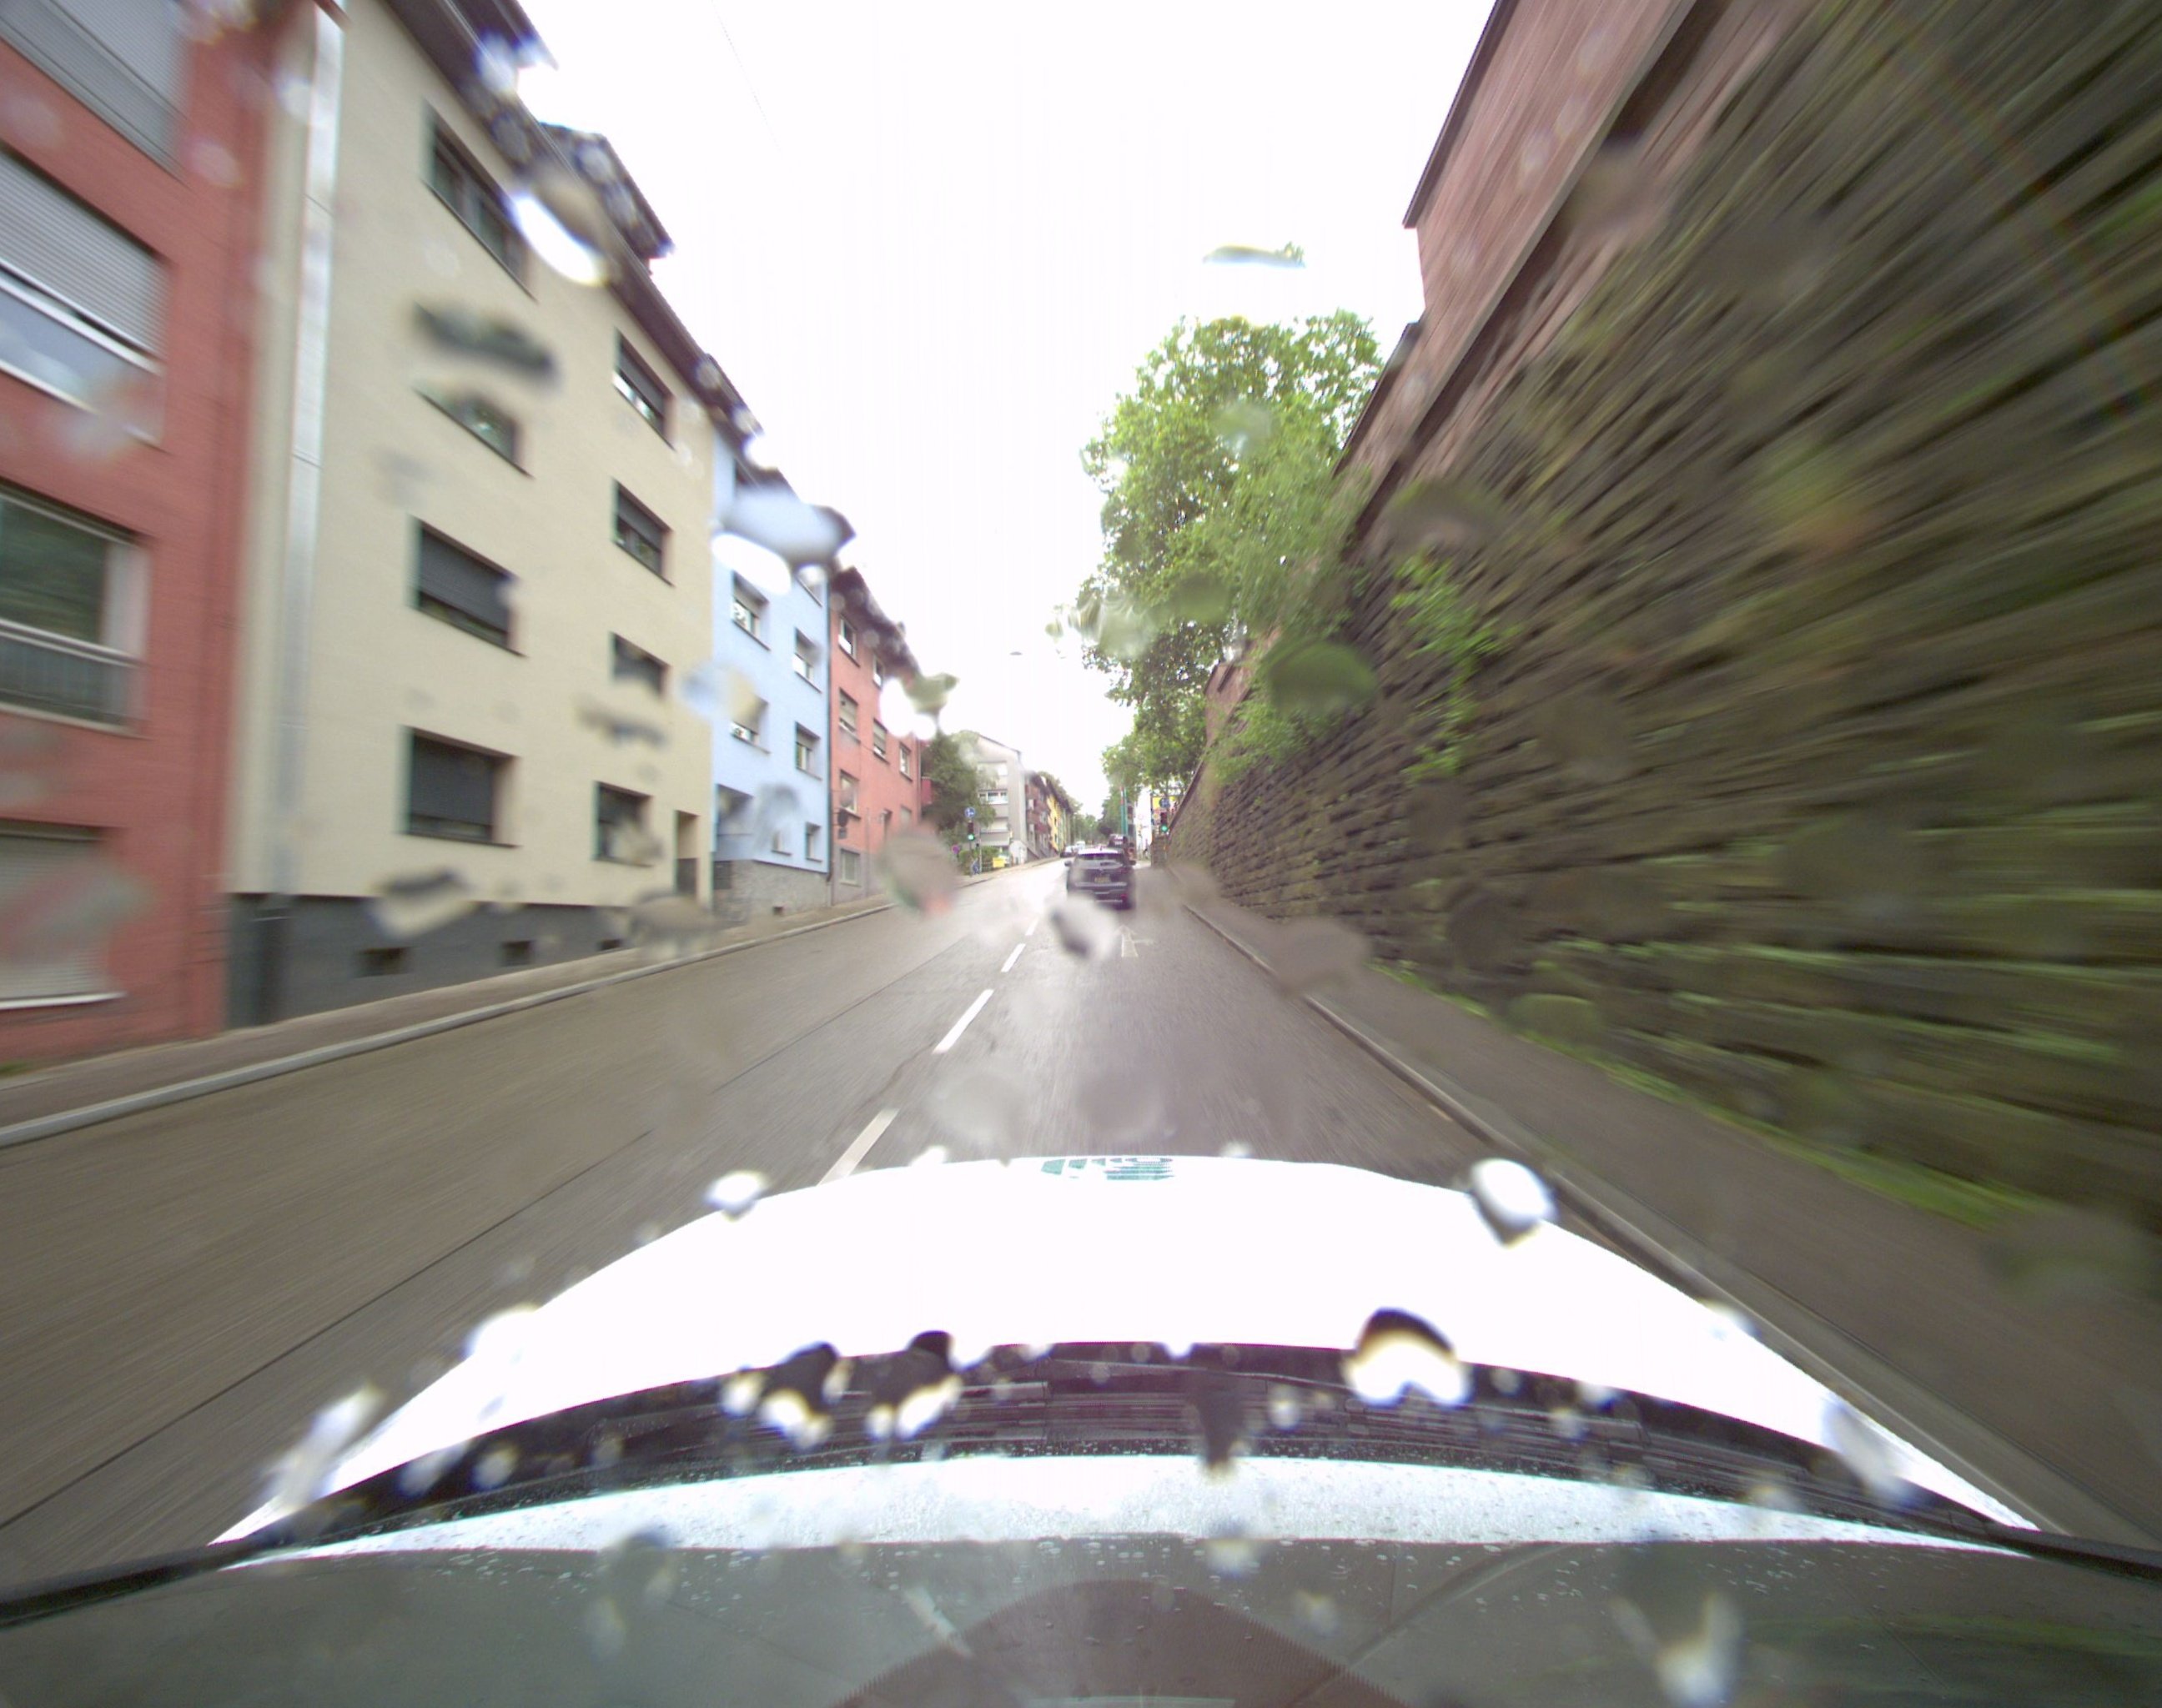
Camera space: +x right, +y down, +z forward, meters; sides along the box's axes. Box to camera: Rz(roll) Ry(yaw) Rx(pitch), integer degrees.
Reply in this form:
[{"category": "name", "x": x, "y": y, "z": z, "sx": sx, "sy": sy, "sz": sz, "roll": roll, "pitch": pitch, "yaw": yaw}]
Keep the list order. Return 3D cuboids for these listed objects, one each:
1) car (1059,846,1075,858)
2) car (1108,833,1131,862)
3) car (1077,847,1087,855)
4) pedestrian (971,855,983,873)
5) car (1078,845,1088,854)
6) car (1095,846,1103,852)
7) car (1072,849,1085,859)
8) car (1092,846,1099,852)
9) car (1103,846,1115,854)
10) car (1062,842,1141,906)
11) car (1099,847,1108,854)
[{"category": "car", "x": -2.125, "y": -0.298, "z": 123.755, "sx": 1.985, "sy": 1.650, "sz": 4.447, "roll": -2, "pitch": 1, "yaw": 4}, {"category": "car", "x": 3.628, "y": -0.562, "z": 76.195, "sx": 1.985, "sy": 2.414, "sz": 5.841, "roll": -1, "pitch": -2, "yaw": 4}, {"category": "car", "x": 0.165, "y": -0.577, "z": 163.500, "sx": 1.983, "sy": 1.585, "sz": 4.306, "roll": -2, "pitch": 1, "yaw": 1}, {"category": "pedestrian", "x": -8.810, "y": 0.840, "z": 69.044, "sx": 0.867, "sy": 1.541, "sz": 1.087, "roll": -1, "pitch": -2, "yaw": -1}, {"category": "car", "x": 0.521, "y": -0.875, "z": 170.642, "sx": 1.983, "sy": 1.755, "sz": 4.481, "roll": -2, "pitch": 1, "yaw": 1}, {"category": "car", "x": 4.942, "y": -1.308, "z": 219.298, "sx": 2.067, "sy": 1.559, "sz": 4.001, "roll": -1, "pitch": 1, "yaw": 1}, {"category": "car", "x": -0.419, "y": 0.059, "z": 146.608, "sx": 1.985, "sy": 1.650, "sz": 4.447, "roll": -2, "pitch": 1, "yaw": 4}, {"category": "car", "x": 4.310, "y": -1.543, "z": 247.419, "sx": 2.067, "sy": 1.559, "sz": 4.001, "roll": -1, "pitch": 1, "yaw": 1}, {"category": "car", "x": 5.184, "y": -0.781, "z": 153.054, "sx": 2.068, "sy": 1.559, "sz": 4.000, "roll": -1, "pitch": 1, "yaw": 0}, {"category": "car", "x": 0.584, "y": 0.473, "z": 22.538, "sx": 1.986, "sy": 1.559, "sz": 4.002, "roll": -1, "pitch": 1, "yaw": 2}, {"category": "car", "x": 5.303, "y": -0.875, "z": 190.382, "sx": 2.067, "sy": 1.559, "sz": 4.001, "roll": -1, "pitch": 1, "yaw": 1}]
